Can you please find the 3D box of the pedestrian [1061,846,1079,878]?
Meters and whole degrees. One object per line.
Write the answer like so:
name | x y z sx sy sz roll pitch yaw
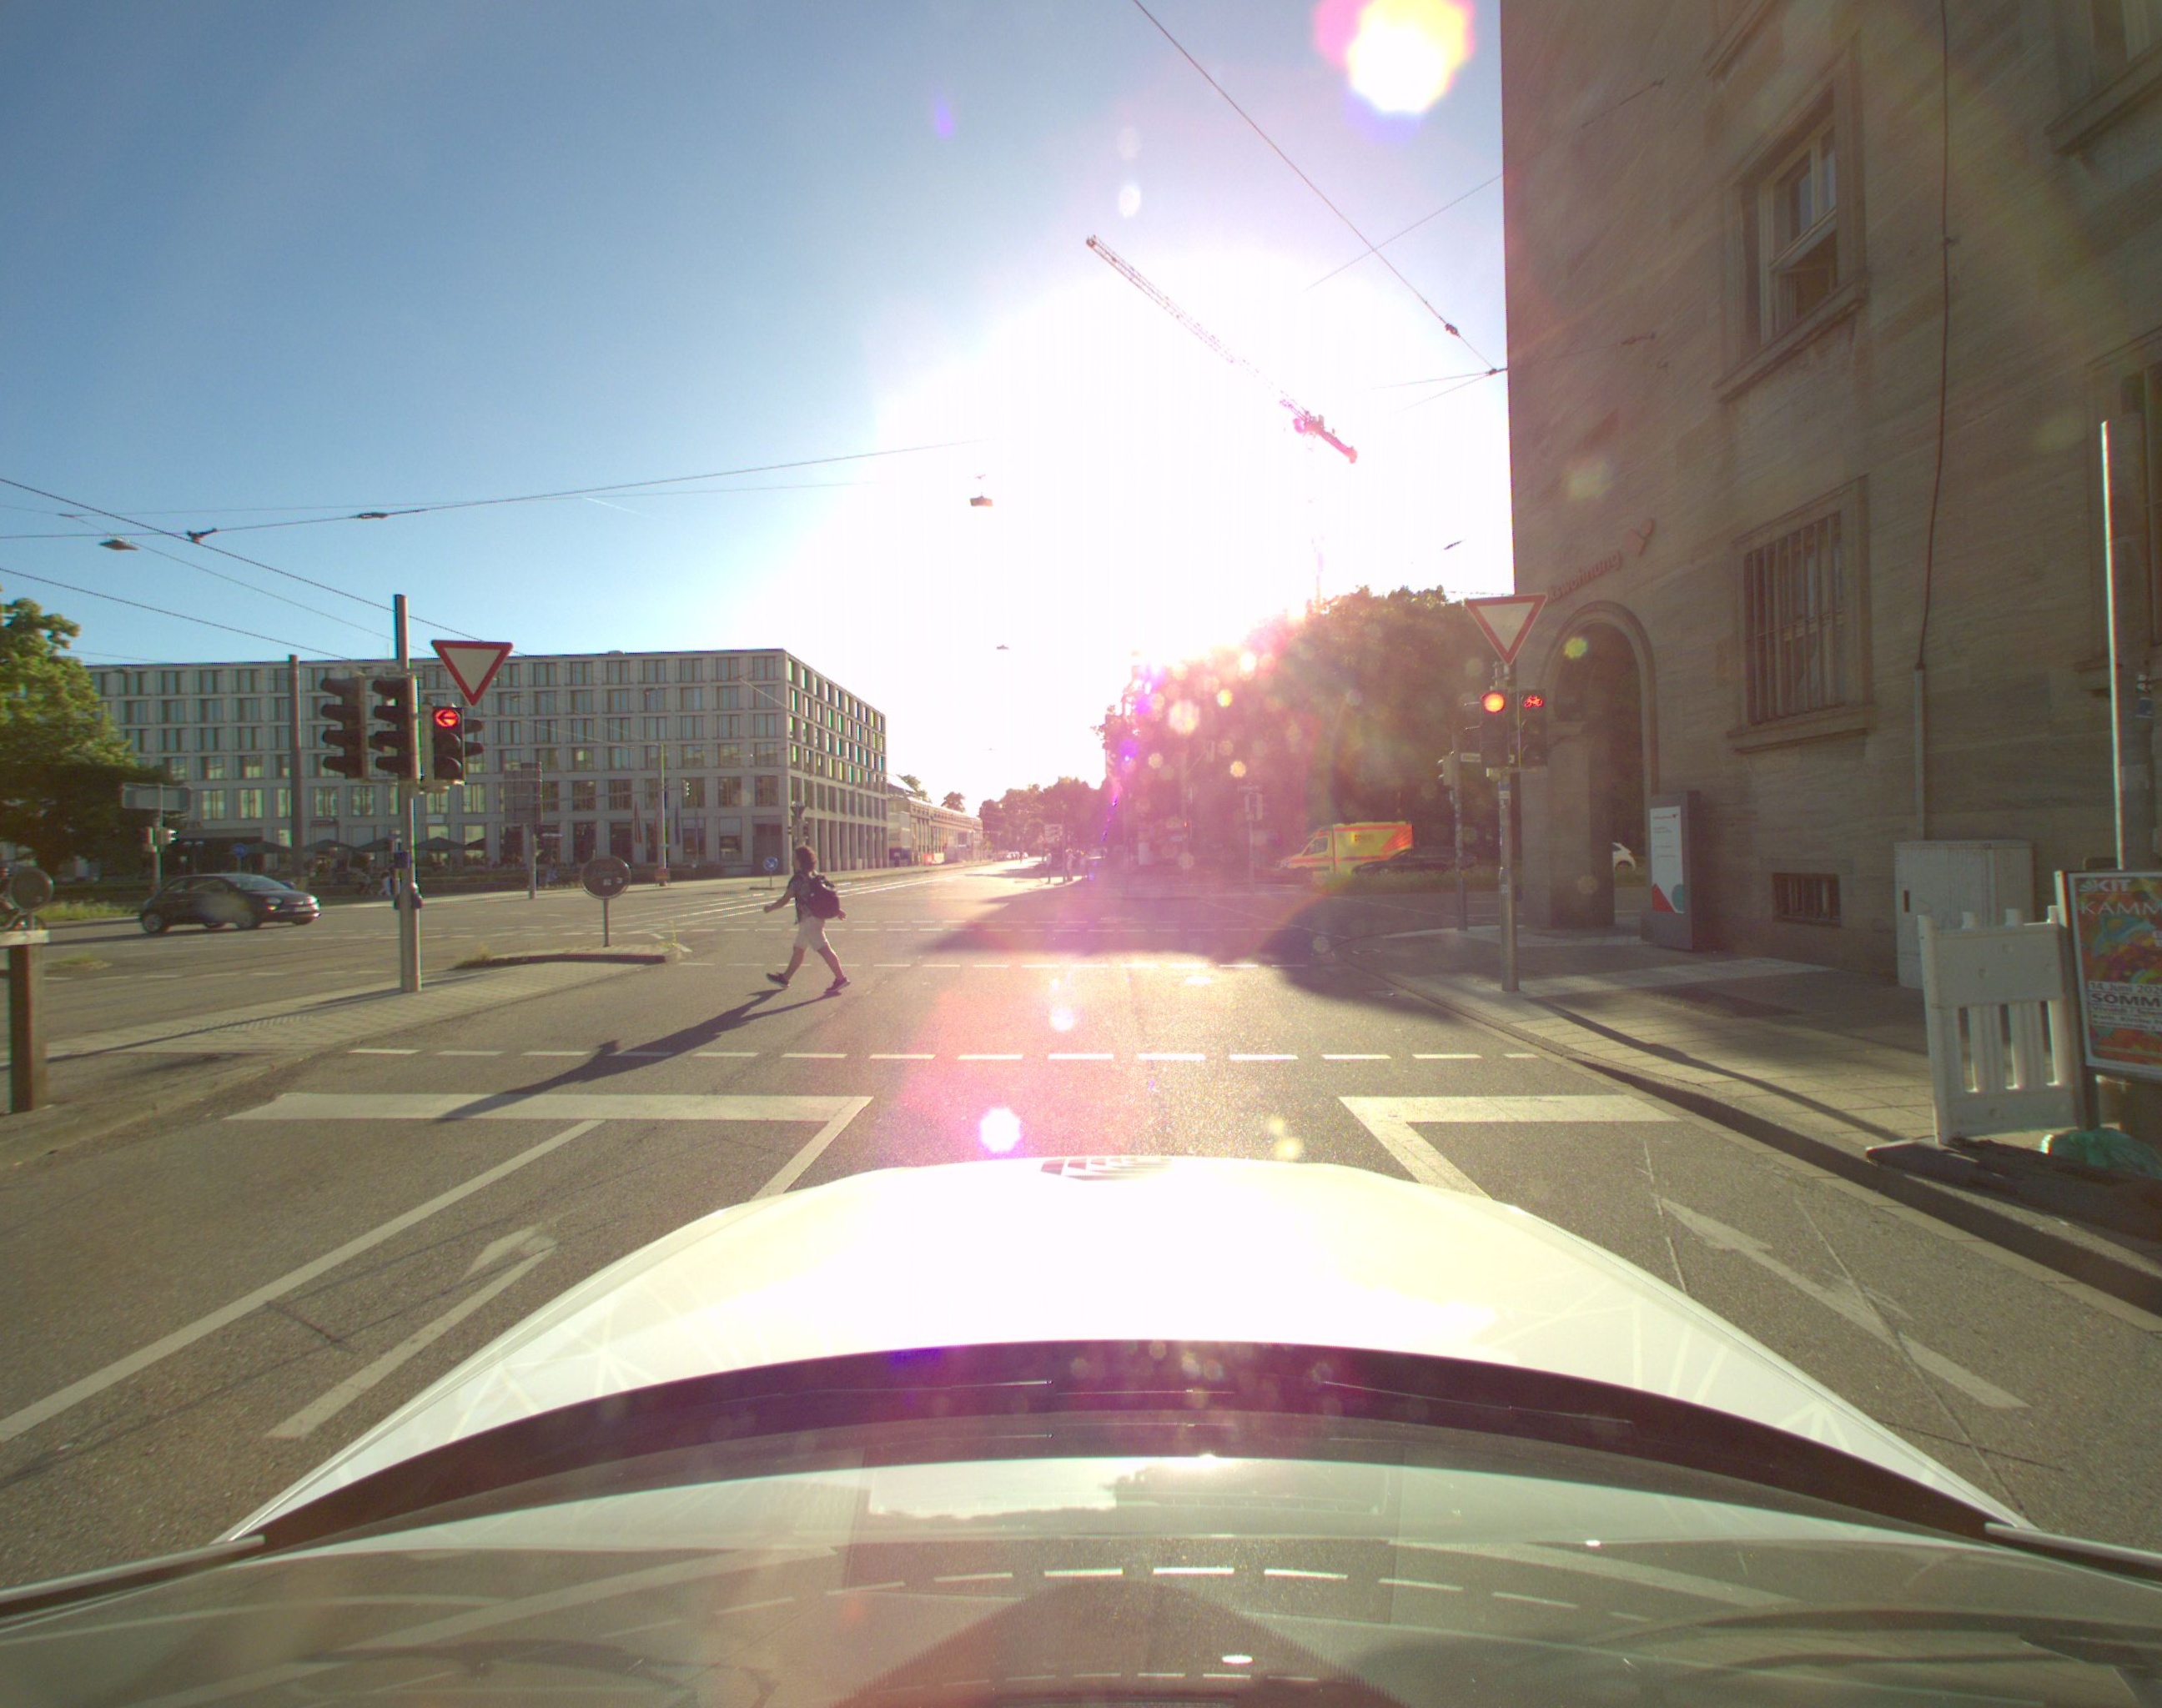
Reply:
pedestrian | -0.645 0.479 46.638 0.849 1.784 0.776 -2 0 -15

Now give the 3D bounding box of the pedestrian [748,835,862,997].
pedestrian | -3.136 0.671 9.376 1.039 1.721 1.032 -2 0 -10

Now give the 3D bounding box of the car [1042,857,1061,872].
car | -2.932 1.063 82.090 1.678 1.501 3.510 0 -1 2

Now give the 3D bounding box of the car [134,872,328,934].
car | -22.648 1.283 21.795 3.519 1.506 1.522 -1 0 -1

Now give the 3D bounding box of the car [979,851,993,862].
car | -16.889 0.437 144.828 1.812 1.712 3.807 -2 0 2

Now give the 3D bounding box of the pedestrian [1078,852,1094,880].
pedestrian | 0.265 0.670 46.822 0.763 1.558 0.585 -2 0 -15

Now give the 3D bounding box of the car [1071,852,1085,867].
car | -0.365 0.735 107.827 1.678 1.962 3.510 0 -1 2

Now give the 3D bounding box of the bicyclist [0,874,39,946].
bicyclist | -23.935 1.242 18.163 0.615 1.582 0.595 -2 0 7

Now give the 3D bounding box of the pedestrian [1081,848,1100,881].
pedestrian | 0.552 0.592 46.147 0.849 1.784 0.776 -2 0 -15

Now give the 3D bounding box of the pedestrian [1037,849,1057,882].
pedestrian | -1.885 0.620 45.115 0.967 1.784 0.776 -2 0 -15

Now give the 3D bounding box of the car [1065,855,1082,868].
car | -0.830 0.846 92.211 1.678 1.501 3.510 0 -1 2

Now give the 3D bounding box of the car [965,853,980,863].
car | -17.807 0.651 134.109 1.812 1.712 3.807 -2 0 2

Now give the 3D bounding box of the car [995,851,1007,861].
car | -15.409 0.391 156.483 1.812 1.712 3.807 -2 0 2

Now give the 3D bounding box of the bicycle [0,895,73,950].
bicycle | -23.840 1.530 18.155 1.913 1.122 0.792 -2 0 7

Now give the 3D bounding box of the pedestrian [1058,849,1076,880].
pedestrian | -0.826 0.592 47.460 0.849 1.784 0.776 -2 0 -15

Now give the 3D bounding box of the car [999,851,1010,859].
car | -15.101 0.255 160.743 1.603 1.498 3.807 -2 0 2

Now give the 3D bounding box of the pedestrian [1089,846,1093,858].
pedestrian | 3.012 -0.745 245.882 1.396 3.597 1.568 0 -1 1

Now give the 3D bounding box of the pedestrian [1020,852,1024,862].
pedestrian | -8.051 0.412 111.383 0.522 1.484 0.437 0 -1 0

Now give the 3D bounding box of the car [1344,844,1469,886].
car | 13.021 0.450 32.771 4.297 1.647 1.889 0 -1 2

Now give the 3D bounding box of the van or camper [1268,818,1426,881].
van or camper | 12.410 -0.181 38.534 6.674 2.862 2.915 0 -1 6
